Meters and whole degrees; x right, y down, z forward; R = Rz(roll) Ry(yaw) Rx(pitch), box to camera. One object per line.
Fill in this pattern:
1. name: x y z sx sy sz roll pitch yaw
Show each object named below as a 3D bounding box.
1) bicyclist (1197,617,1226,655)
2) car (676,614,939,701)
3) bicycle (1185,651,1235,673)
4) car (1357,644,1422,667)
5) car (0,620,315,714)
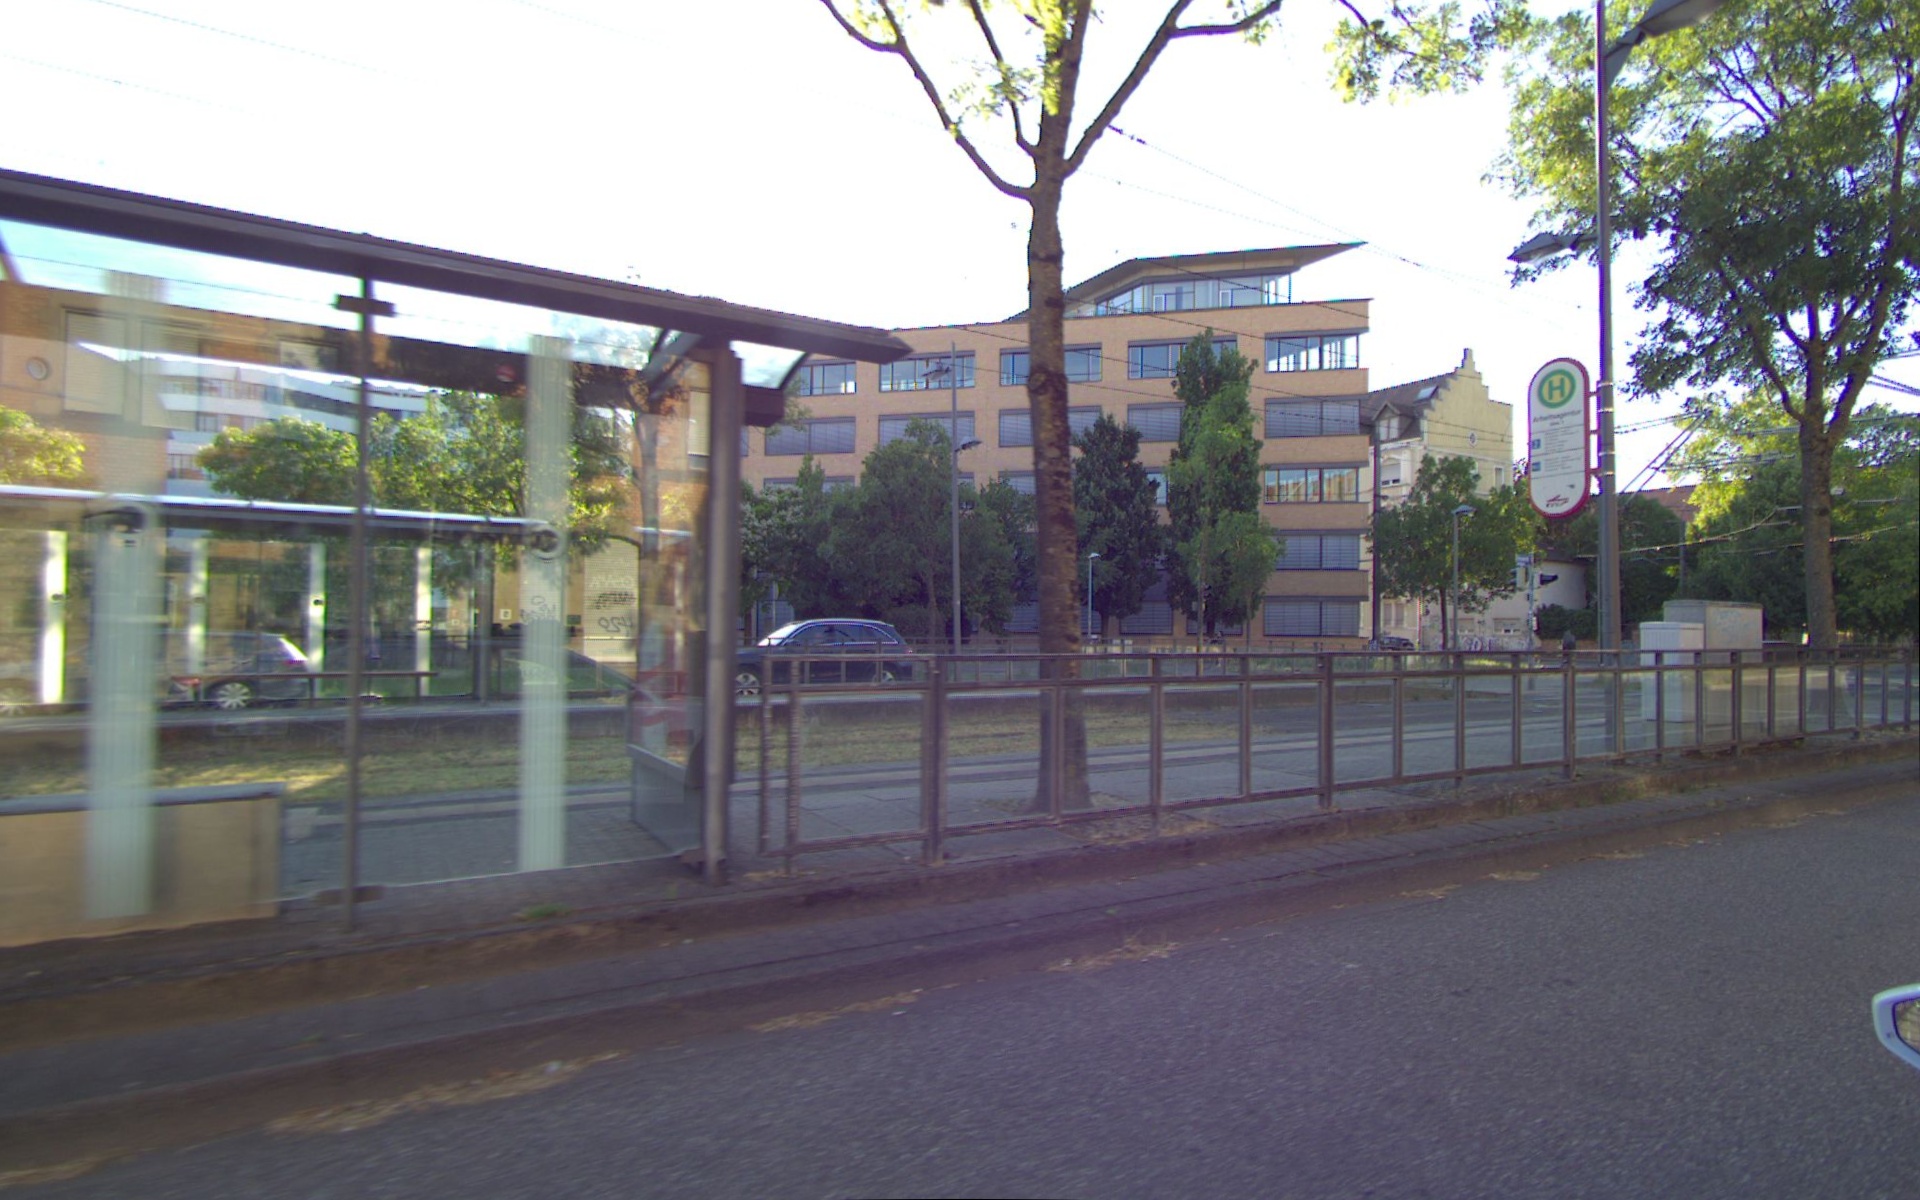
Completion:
1. bicyclist: 10.132 1.442 40.450 0.817 1.487 0.765 1 -2 -28
2. car: -3.011 1.109 20.153 4.835 1.572 1.985 2 -2 -29
3. bicycle: 10.050 2.494 40.401 1.941 0.832 0.771 2 -2 -28
4. car: 30.845 3.955 72.257 1.977 1.505 3.968 1 -2 -30
5. car: -13.547 1.091 16.955 4.385 1.432 1.601 2 -2 -32
